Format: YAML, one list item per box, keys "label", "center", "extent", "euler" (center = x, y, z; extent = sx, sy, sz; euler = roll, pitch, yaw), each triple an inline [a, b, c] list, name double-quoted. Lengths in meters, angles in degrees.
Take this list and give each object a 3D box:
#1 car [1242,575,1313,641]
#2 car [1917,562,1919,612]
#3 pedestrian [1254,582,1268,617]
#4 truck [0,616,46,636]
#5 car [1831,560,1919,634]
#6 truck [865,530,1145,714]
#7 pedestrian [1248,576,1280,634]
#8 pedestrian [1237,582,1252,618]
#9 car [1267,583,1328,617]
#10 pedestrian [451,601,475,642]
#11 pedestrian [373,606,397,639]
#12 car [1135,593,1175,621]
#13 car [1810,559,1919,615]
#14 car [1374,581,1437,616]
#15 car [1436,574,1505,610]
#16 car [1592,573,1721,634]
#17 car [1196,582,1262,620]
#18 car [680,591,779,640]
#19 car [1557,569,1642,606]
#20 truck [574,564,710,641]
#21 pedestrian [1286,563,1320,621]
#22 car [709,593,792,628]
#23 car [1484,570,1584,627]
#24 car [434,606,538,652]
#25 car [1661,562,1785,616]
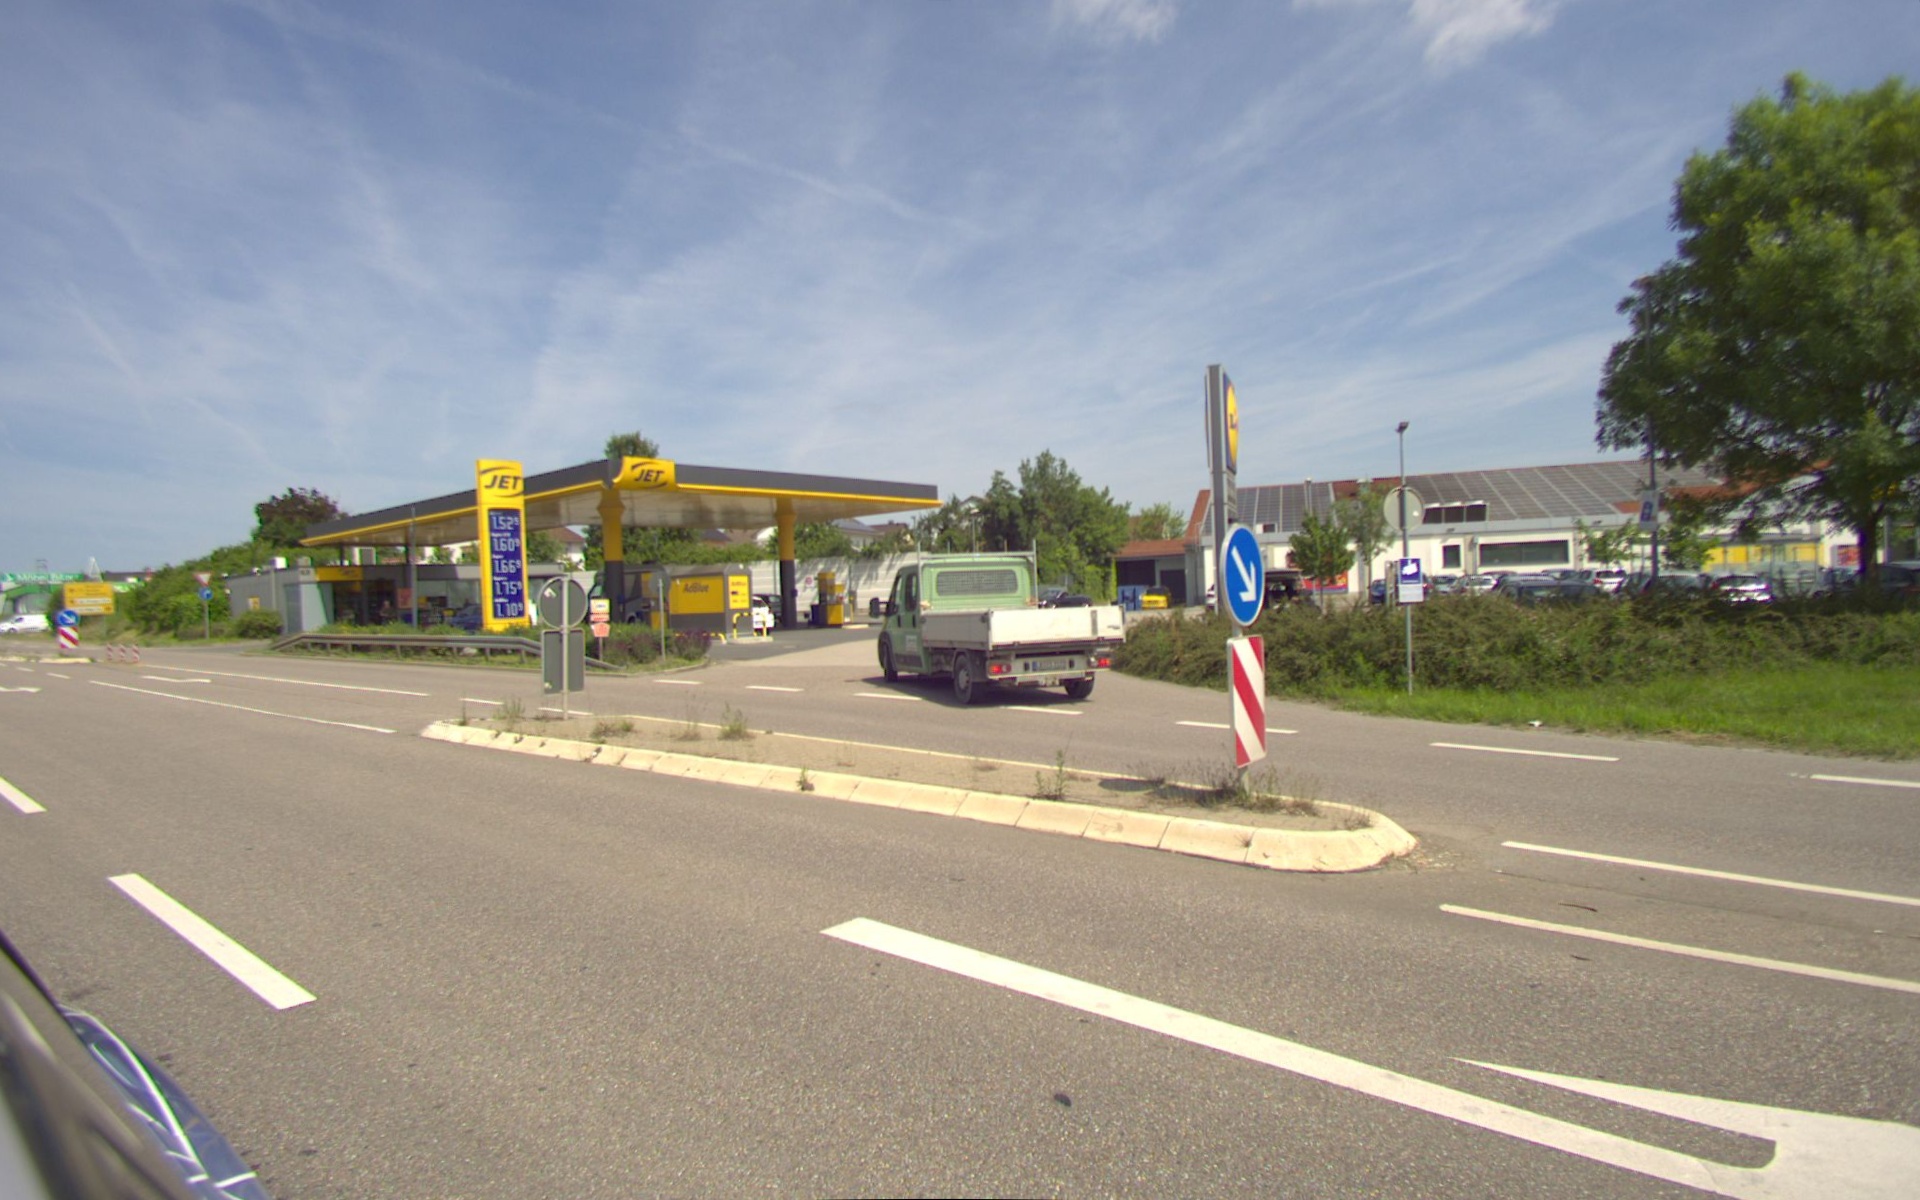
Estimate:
- label: "car"
  center: [9.653, 0.215, 30.847]
  extent: [1.864, 1.825, 4.145]
  euler: [-2, 0, 17]
- label: "car"
  center: [29.648, -0.403, 29.044]
  extent: [1.766, 1.540, 3.972]
  euler: [-1, 0, 21]
- label: "pedestrian"
  center: [13.369, -0.018, 44.917]
  extent: [0.514, 1.564, 0.502]
  euler: [-1, 0, 25]
- label: "truck"
  center: [-104.353, 2.909, 111.881]
  extent: [2.000, 2.024, 4.707]
  euler: [-2, 1, 43]
- label: "car"
  center: [23.741, -0.137, 25.106]
  extent: [1.897, 1.687, 3.974]
  euler: [-2, 1, 20]
- label: "truck"
  center: [0.381, 0.280, 16.630]
  extent: [2.210, 2.393, 6.371]
  euler: [-2, 0, -21]
- label: "pedestrian"
  center: [8.509, 0.139, 28.345]
  extent: [0.801, 1.587, 0.701]
  euler: [-1, 0, 13]
- label: "pedestrian"
  center: [12.542, -0.002, 44.612]
  extent: [0.504, 1.564, 0.511]
  euler: [-1, 0, 34]
- label: "car"
  center: [15.527, -0.016, 46.457]
  extent: [1.879, 1.453, 3.958]
  euler: [-1, 1, 31]
- label: "pedestrian"
  center: [-22.910, 0.973, 46.631]
  extent: [0.639, 1.852, 0.788]
  euler: [-2, 0, 41]
- label: "pedestrian"
  center: [-26.231, 1.019, 46.171]
  extent: [0.900, 1.438, 0.495]
  euler: [-1, 0, -34]
- label: "car"
  center: [13.823, 0.485, 71.445]
  extent: [1.986, 1.823, 4.356]
  euler: [-2, 0, 22]
- label: "car"
  center: [27.390, -0.373, 30.111]
  extent: [1.764, 1.540, 3.977]
  euler: [-1, 0, 17]
- label: "car"
  center: [19.486, -0.088, 44.446]
  extent: [1.868, 1.453, 3.981]
  euler: [-1, 1, 15]
- label: "car"
  center: [22.330, -0.359, 44.396]
  extent: [1.868, 1.453, 3.981]
  euler: [-1, 1, 15]
- label: "car"
  center: [18.952, 0.046, 27.752]
  extent: [1.769, 1.513, 4.122]
  euler: [-2, 1, 18]
- label: "car"
  center: [12.435, 0.025, 46.639]
  extent: [1.764, 1.551, 3.956]
  euler: [-3, 0, 33]
- label: "car"
  center: [-8.724, 0.610, 38.146]
  extent: [4.001, 1.741, 1.713]
  euler: [-2, -3, 44]
- label: "car"
  center: [27.005, -0.528, 42.855]
  extent: [1.868, 1.453, 3.981]
  euler: [-1, 1, 15]
- label: "truck"
  center: [-13.078, 0.118, 41.372]
  extent: [6.278, 2.944, 2.222]
  euler: [-1, 0, 40]
- label: "pedestrian"
  center: [9.583, -0.222, 28.286]
  extent: [0.801, 1.587, 0.701]
  euler: [-1, 0, 13]
- label: "car"
  center: [-10.316, 0.521, 49.832]
  extent: [3.861, 1.625, 1.735]
  euler: [-2, -1, 31]
- label: "car"
  center: [18.391, -0.079, 32.633]
  extent: [1.850, 1.688, 4.399]
  euler: [-2, 0, 17]
- label: "car"
  center: [-18.684, 1.136, 39.868]
  extent: [4.258, 1.719, 1.975]
  euler: [-2, -1, 37]
- label: "car"
  center: [23.330, -0.317, 31.104]
  extent: [1.764, 1.540, 3.977]
  euler: [-1, 0, 17]
